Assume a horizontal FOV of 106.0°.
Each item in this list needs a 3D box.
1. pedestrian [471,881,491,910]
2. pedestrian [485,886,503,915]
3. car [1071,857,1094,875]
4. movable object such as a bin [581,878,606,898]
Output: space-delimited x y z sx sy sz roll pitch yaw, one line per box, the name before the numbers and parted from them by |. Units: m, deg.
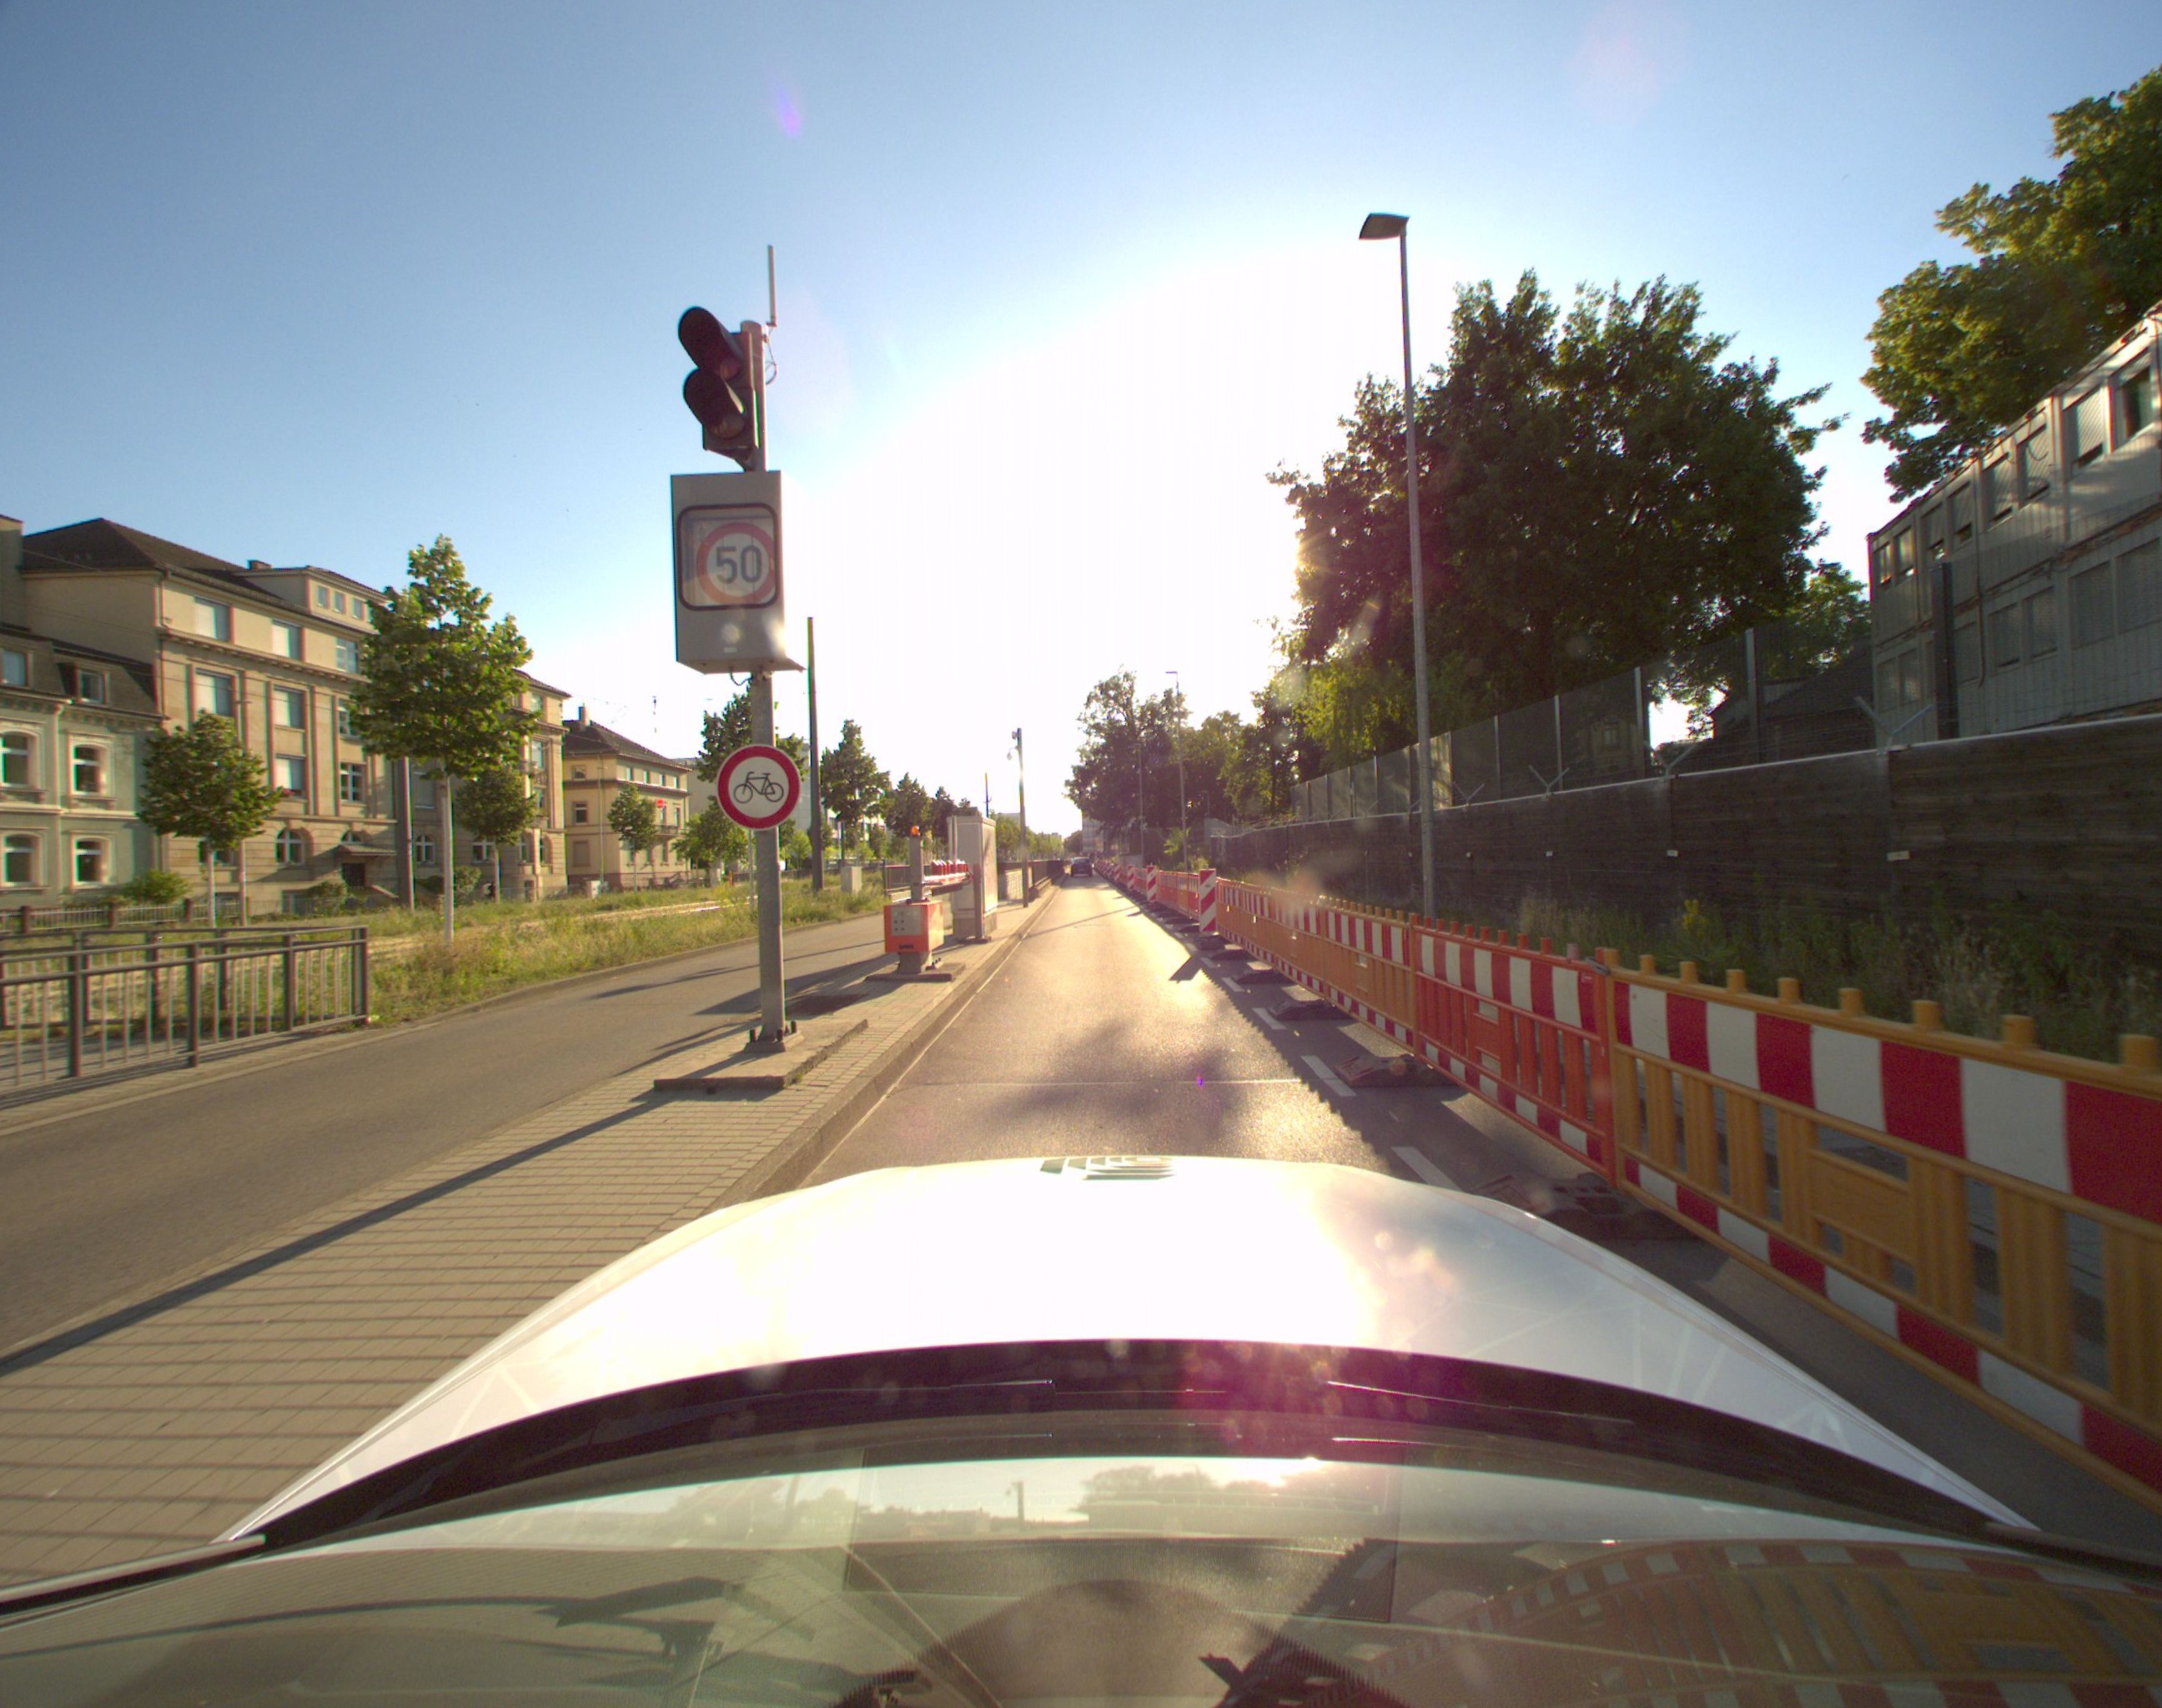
pedestrian | -36.757 2.556 49.893 0.654 1.720 0.653 -2 -1 -1
pedestrian | -35.995 2.854 49.932 0.553 1.720 0.653 -2 -1 -1
car | 0.162 1.109 74.817 1.998 1.659 4.000 0 -1 1
movable object such as a bin | -37.652 2.597 62.913 1.201 1.429 1.080 -2 0 0
